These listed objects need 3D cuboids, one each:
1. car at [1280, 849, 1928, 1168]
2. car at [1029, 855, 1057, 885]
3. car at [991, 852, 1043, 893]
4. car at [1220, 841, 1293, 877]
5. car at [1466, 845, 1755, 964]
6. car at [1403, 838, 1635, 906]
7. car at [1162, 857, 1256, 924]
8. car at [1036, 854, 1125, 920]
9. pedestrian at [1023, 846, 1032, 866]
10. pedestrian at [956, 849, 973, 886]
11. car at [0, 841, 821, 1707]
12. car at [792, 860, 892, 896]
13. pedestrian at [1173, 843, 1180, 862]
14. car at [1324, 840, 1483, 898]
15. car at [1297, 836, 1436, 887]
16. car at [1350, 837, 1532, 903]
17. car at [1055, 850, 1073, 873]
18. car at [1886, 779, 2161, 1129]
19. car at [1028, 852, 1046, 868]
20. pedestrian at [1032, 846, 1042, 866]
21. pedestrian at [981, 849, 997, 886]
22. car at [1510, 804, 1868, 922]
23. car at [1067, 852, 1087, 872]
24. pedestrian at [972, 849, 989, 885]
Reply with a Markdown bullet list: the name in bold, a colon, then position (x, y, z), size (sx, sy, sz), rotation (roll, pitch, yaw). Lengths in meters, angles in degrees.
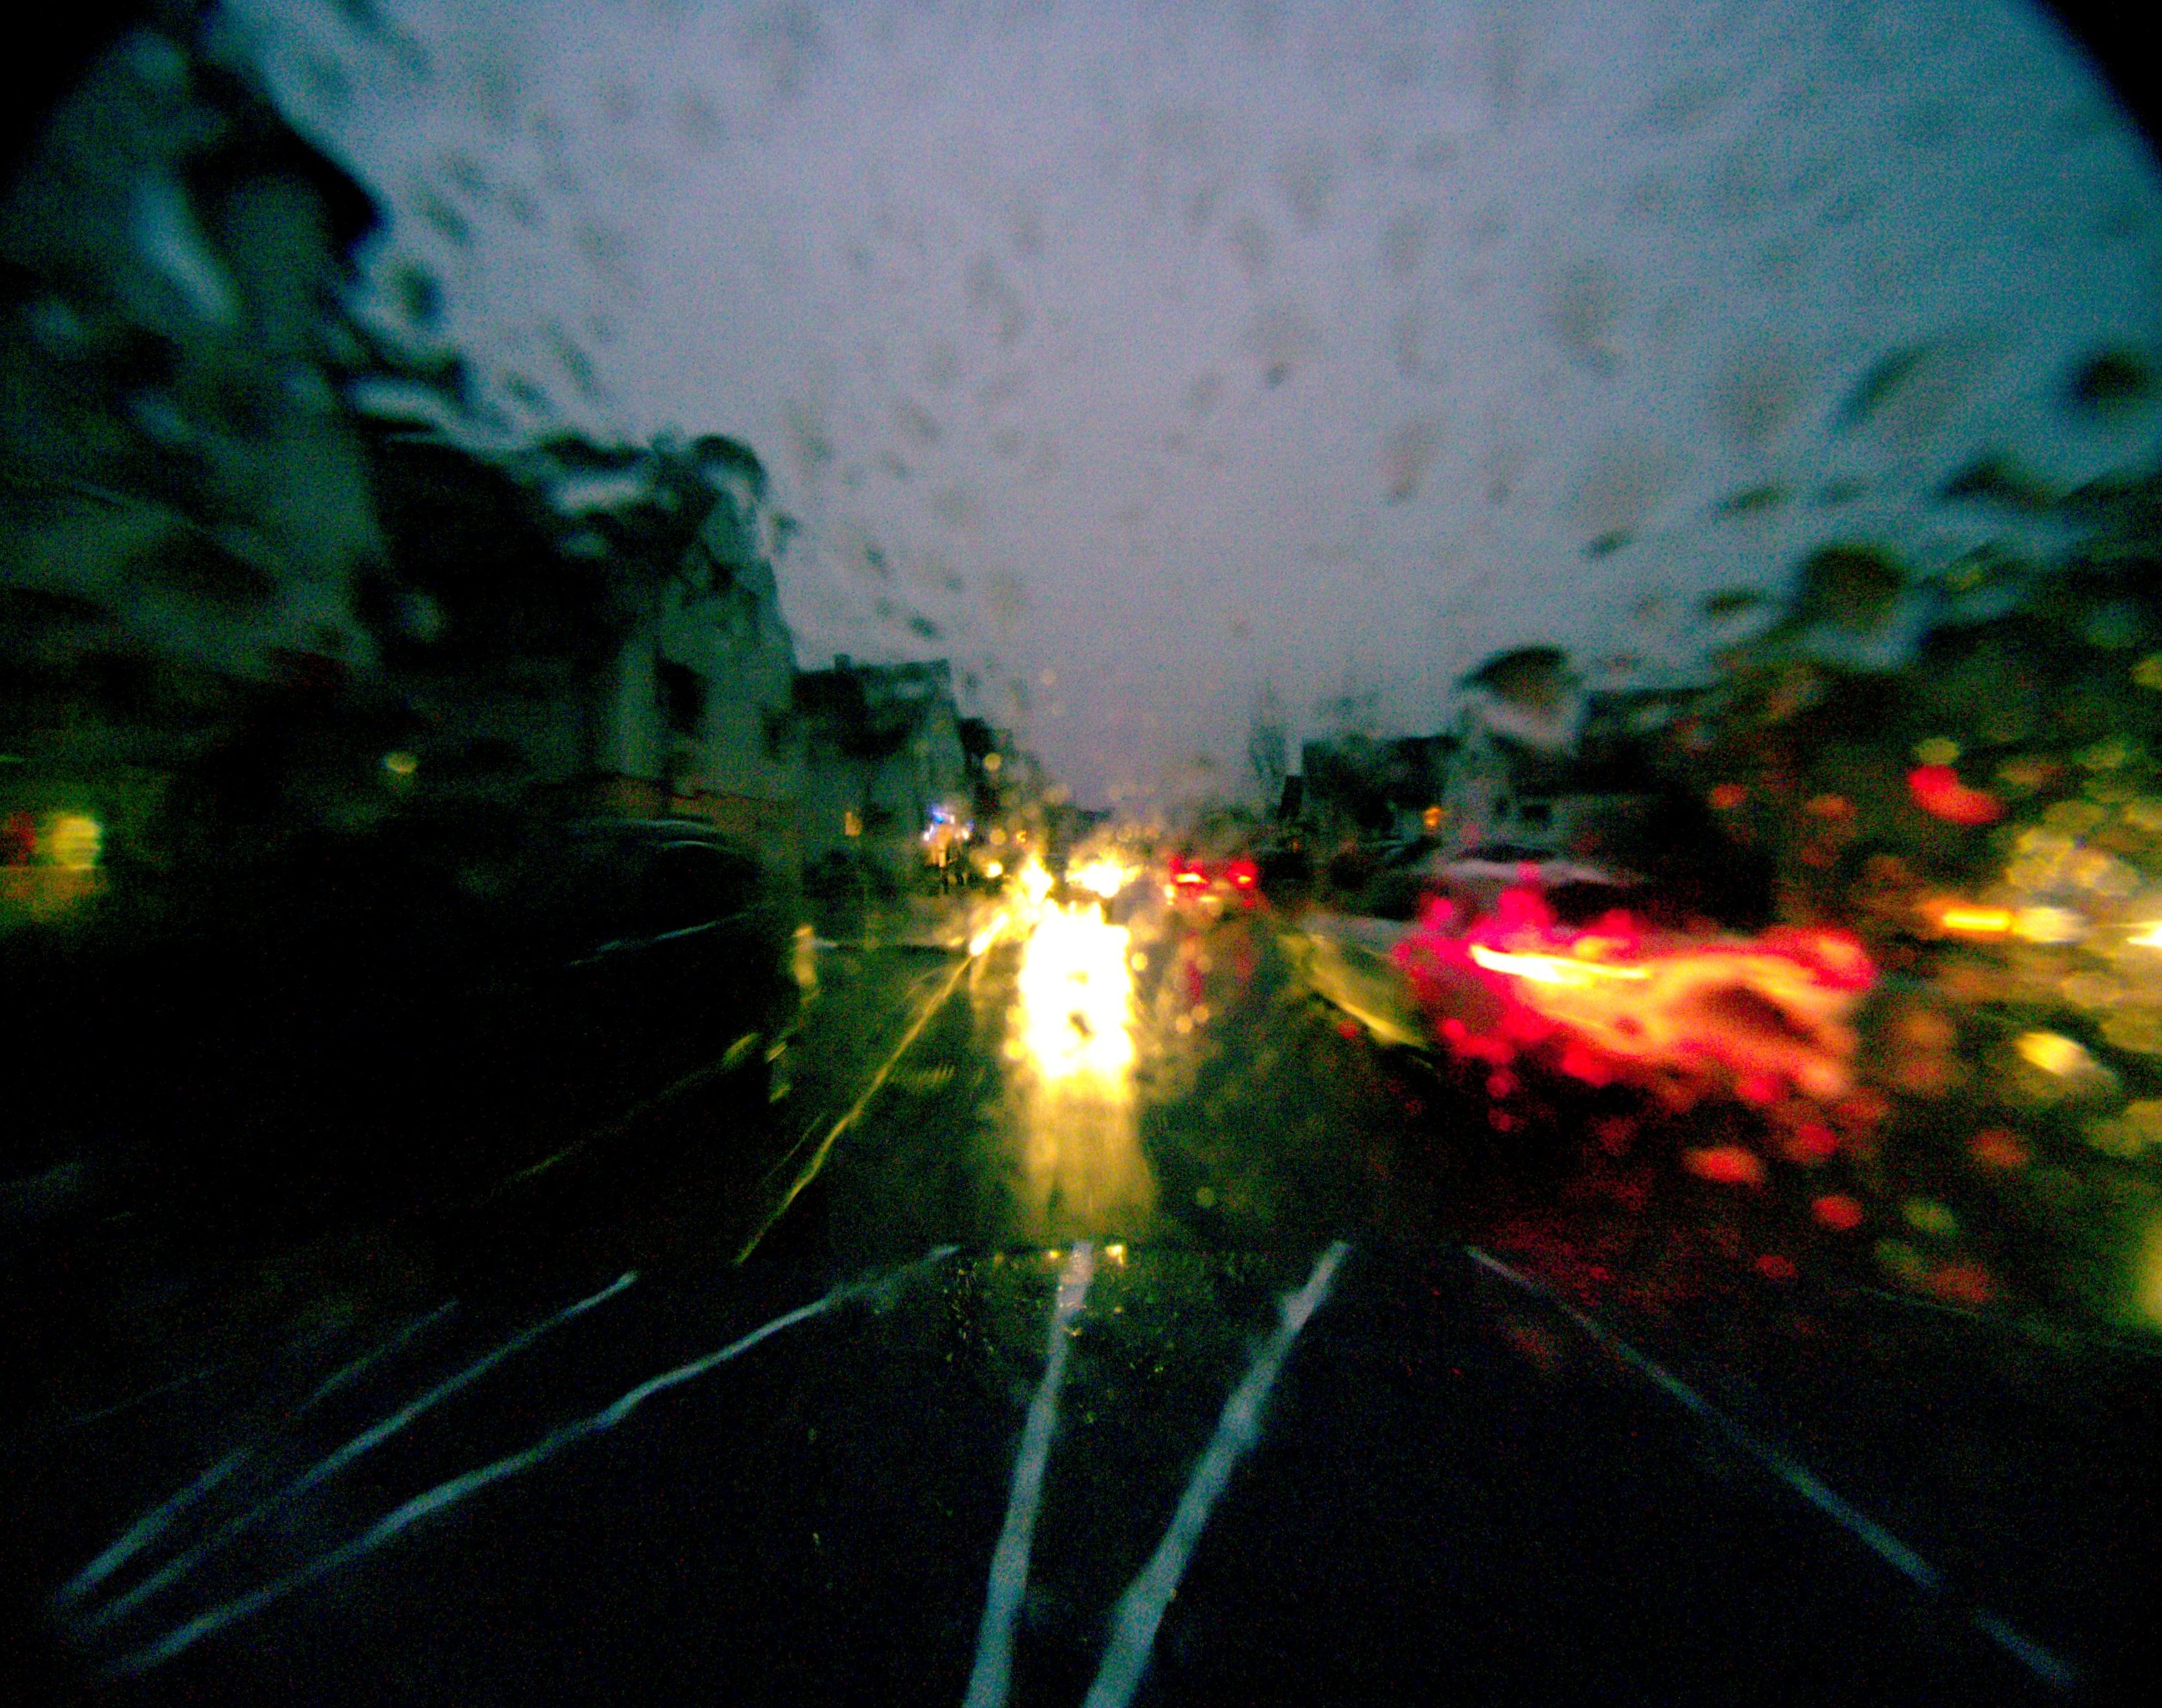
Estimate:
- **car**: position (3.085, 0.735, 5.881), size (1.830, 1.510, 4.547), rotation (0, 0, -1)
- **car**: position (-2.593, 1.097, 52.791), size (1.748, 2.001, 3.808), rotation (1, 0, 0)
- **car**: position (-2.886, 0.819, 35.147), size (1.998, 1.774, 4.519), rotation (0, 0, 0)
- **car**: position (10.175, 0.297, 44.254), size (3.805, 1.940, 1.749), rotation (1, 0, 0)
- **car**: position (9.535, 0.881, 13.924), size (4.038, 1.940, 1.749), rotation (1, 0, 0)
- **car**: position (11.247, 0.466, 19.808), size (4.877, 1.674, 2.001), rotation (0, -1, 2)
- **car**: position (3.044, 0.815, 18.793), size (1.624, 1.471, 3.838), rotation (1, 0, -1)
- **car**: position (0.125, 0.850, 22.117), size (2.269, 1.633, 5.066), rotation (-1, 0, 3)
- **pedestrian**: position (-4.410, 0.168, 62.700), size (0.656, 1.596, 0.723), rotation (0, 0, 3)
- **pedestrian**: position (-5.459, 0.620, 35.599), size (0.609, 1.711, 0.651), rotation (1, 0, 6)
- **car**: position (-2.773, 0.806, 2.865), size (1.979, 1.651, 4.460), rotation (0, 0, 1)
- **car**: position (-9.769, 0.937, 31.166), size (3.555, 1.378, 1.662), rotation (1, 0, 12)
- **pedestrian**: position (10.095, -0.124, 80.273), size (0.674, 2.002, 0.604), rotation (-2, 1, 0)
- **car**: position (10.699, 0.494, 25.429), size (4.514, 1.856, 1.868), rotation (0, 0, 0)
- **car**: position (10.412, 0.262, 27.914), size (4.424, 1.790, 1.844), rotation (0, 0, 0)
- **car**: position (10.661, 0.464, 22.757), size (4.514, 1.856, 2.000), rotation (0, 0, 0)
- **car**: position (-1.559, 0.660, 69.884), size (1.531, 2.002, 4.000), rotation (0, 0, 1)
- **car**: position (8.976, 0.480, 4.370), size (5.769, 1.934, 1.993), rotation (-2, 0, 14)
- **car**: position (-5.171, 0.709, 89.393), size (1.782, 1.805, 3.997), rotation (0, 0, -9)
- **pedestrian**: position (-3.602, 0.181, 62.681), size (0.731, 1.596, 0.723), rotation (0, 0, 3)
- **pedestrian**: position (-4.356, 0.635, 36.036), size (0.650, 1.711, 0.469), rotation (1, 0, 6)
- **car**: position (9.264, 0.125, 11.868), size (3.997, 1.674, 2.000), rotation (0, 0, 0)
- **car**: position (-0.458, 0.828, 79.332), size (1.866, 2.002, 3.842), rotation (0, 0, -5)
- **pedestrian**: position (-5.137, 0.666, 38.850), size (0.649, 1.786, 0.508), rotation (1, 0, 12)
